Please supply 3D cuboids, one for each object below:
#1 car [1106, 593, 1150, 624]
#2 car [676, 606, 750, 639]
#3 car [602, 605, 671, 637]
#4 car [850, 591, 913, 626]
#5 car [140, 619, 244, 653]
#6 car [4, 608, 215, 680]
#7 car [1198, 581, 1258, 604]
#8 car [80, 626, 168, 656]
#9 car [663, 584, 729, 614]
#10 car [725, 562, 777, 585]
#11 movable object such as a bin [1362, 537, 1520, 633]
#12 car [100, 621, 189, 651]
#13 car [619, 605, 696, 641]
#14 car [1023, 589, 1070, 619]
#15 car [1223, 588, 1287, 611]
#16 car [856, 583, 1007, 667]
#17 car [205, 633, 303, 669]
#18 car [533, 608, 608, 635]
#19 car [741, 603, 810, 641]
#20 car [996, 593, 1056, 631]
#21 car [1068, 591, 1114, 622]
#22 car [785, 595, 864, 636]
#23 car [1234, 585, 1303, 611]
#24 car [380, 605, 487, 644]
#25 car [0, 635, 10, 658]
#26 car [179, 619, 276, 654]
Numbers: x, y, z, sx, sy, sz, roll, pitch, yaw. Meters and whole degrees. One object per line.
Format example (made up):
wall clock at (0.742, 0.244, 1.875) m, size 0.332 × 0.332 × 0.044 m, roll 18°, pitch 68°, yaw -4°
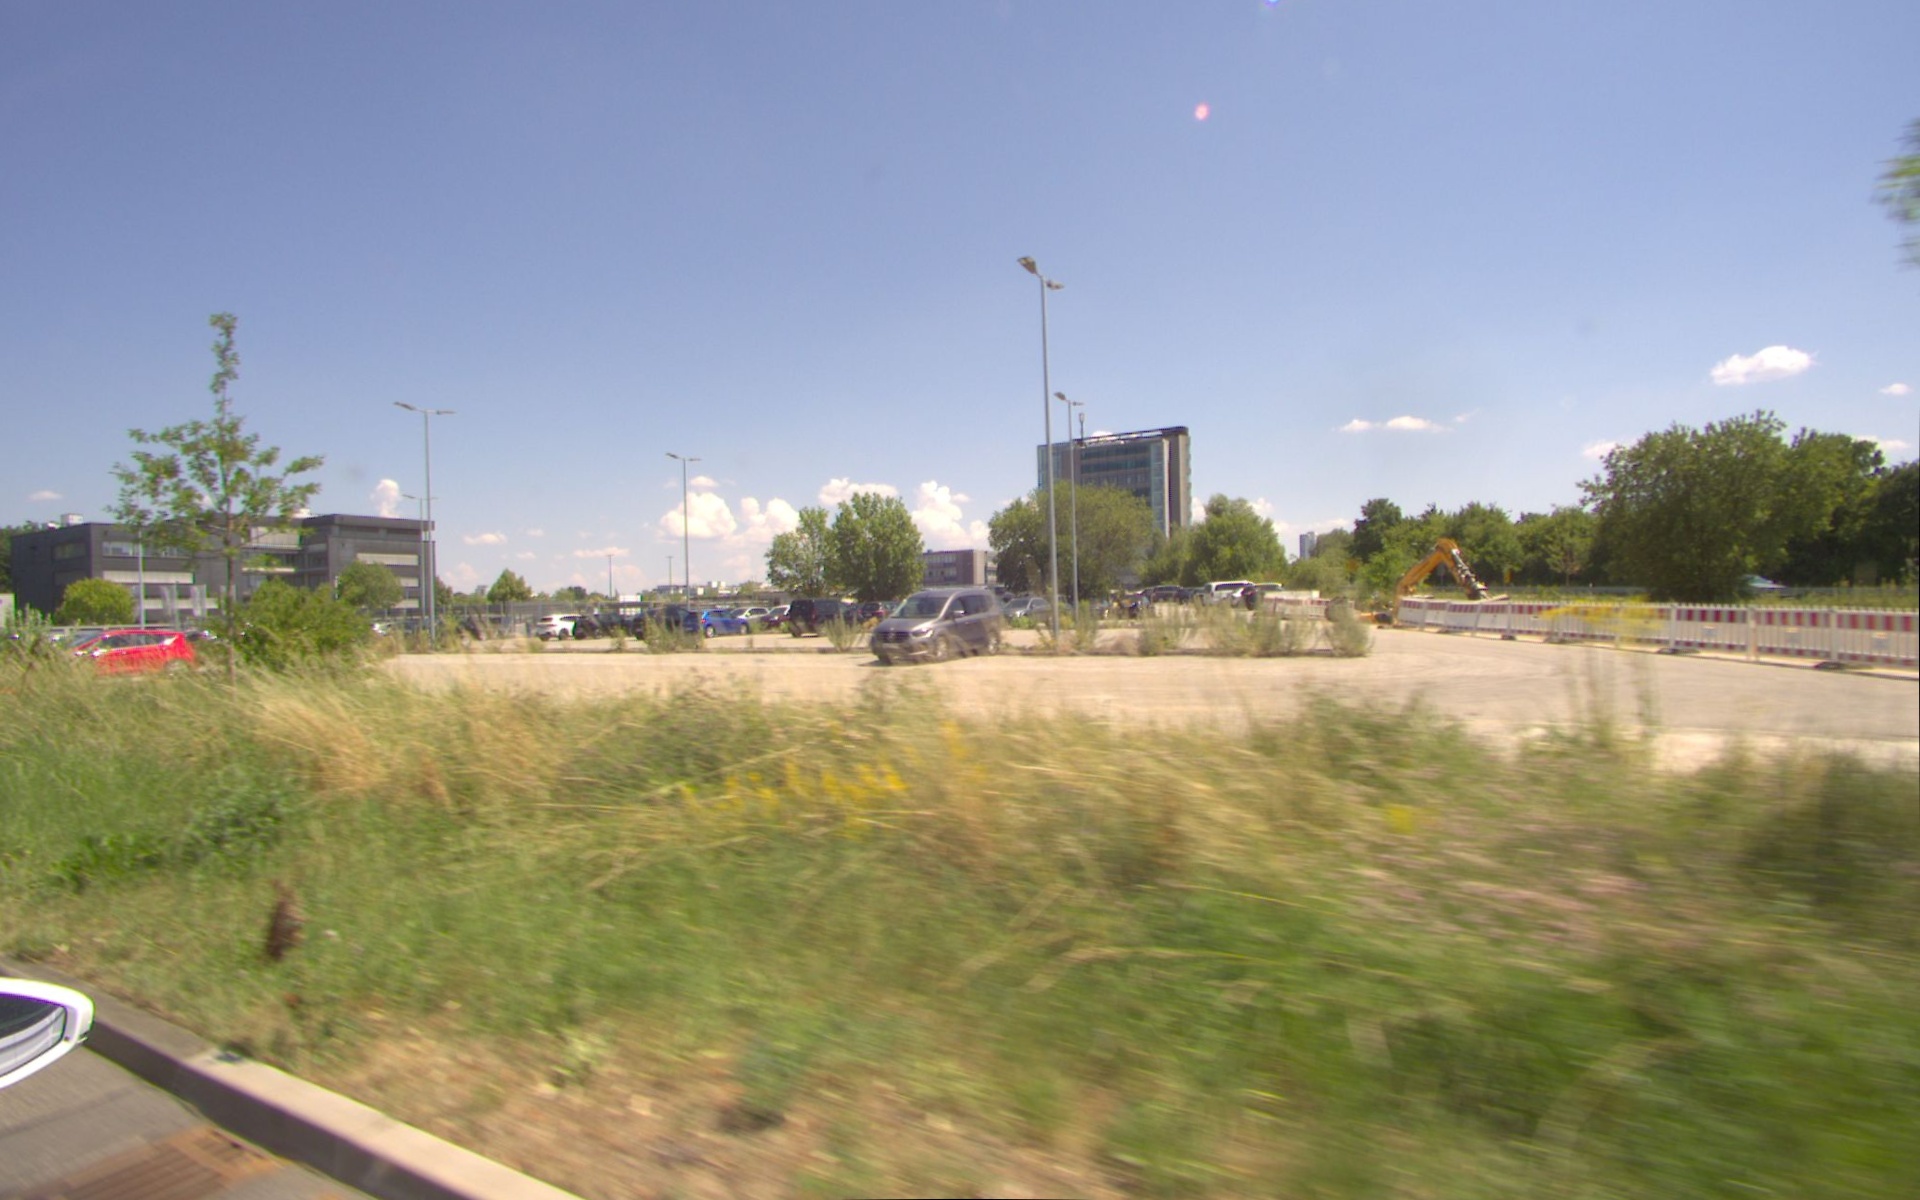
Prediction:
car at (9.973, 0.457, 59.284) m, size 1.964 × 1.662 × 3.990 m, roll 1°, pitch 2°, yaw 19°
car at (-12.760, 1.119, 51.964) m, size 1.706 × 1.484 × 3.793 m, roll 2°, pitch 2°, yaw 26°
car at (-19.342, 1.213, 60.107) m, size 1.964 × 1.662 × 3.990 m, roll 1°, pitch 2°, yaw 19°
car at (-4.145, 0.433, 53.802) m, size 1.964 × 1.662 × 3.990 m, roll 1°, pitch 2°, yaw 19°
car at (-43.536, 2.016, 56.896) m, size 1.740 × 1.618 × 4.361 m, roll 2°, pitch 2°, yaw 27°
car at (-23.296, 1.170, 27.581) m, size 1.899 × 1.746 × 3.980 m, roll -2°, pitch 0°, yaw 31°
car at (19.833, -0.575, 74.177) m, size 3.922 × 1.549 × 1.875 m, roll -2°, pitch 0°, yaw -2°
car at (-53.815, 2.580, 64.522) m, size 1.740 × 1.618 × 3.983 m, roll 2°, pitch 2°, yaw 27°
car at (-15.820, -0.110, 60.109) m, size 1.964 × 1.662 × 3.990 m, roll 1°, pitch 2°, yaw 19°
car at (-16.176, -2.059, 77.547) m, size 1.767 × 1.662 × 3.980 m, roll 2°, pitch 2°, yaw 30°
movable object such as a bin at (22.158, -0.764, 46.795) m, size 2.930 × 4.101 × 8.098 m, roll 0°, pitch 2°, yaw -4°
car at (-51.694, 2.267, 63.555) m, size 1.832 × 1.618 × 3.983 m, roll 2°, pitch 2°, yaw 27°
car at (-15.982, 1.159, 53.063) m, size 1.964 × 1.662 × 3.990 m, roll 1°, pitch 2°, yaw 19°
car at (5.314, 0.240, 61.218) m, size 1.964 × 1.662 × 3.990 m, roll 1°, pitch 2°, yaw 19°
car at (20.999, -0.032, 71.340) m, size 3.922 × 1.549 × 1.875 m, roll -2°, pitch 0°, yaw -2°
car at (-0.621, 0.555, 25.910) m, size 1.910 × 1.941 × 4.455 m, roll 0°, pitch 2°, yaw 29°
car at (-38.222, 2.727, 54.299) m, size 1.740 × 1.618 × 3.983 m, roll 2°, pitch 2°, yaw 27°
car at (-22.664, 1.243, 58.435) m, size 1.669 × 1.359 × 3.985 m, roll -2°, pitch 0°, yaw 26°
car at (-10.621, 1.230, 57.843) m, size 1.968 × 1.908 × 3.984 m, roll 2°, pitch 2°, yaw 26°
car at (3.243, 0.541, 48.603) m, size 1.964 × 1.662 × 3.990 m, roll 1°, pitch 2°, yaw 19°
car at (7.836, 0.357, 59.456) m, size 1.964 × 1.662 × 3.990 m, roll 1°, pitch 2°, yaw 19°
car at (-6.459, 0.706, 48.099) m, size 1.731 × 1.781 × 3.982 m, roll 0°, pitch 1°, yaw 28°
car at (20.303, -0.132, 65.971) m, size 3.922 × 1.549 × 1.875 m, roll -2°, pitch 0°, yaw -2°
car at (-24.635, 1.128, 46.980) m, size 1.899 × 1.663 × 3.980 m, roll -2°, pitch 0°, yaw 31°
car at (-64.816, 3.126, 65.138) m, size 1.741 × 1.420 × 3.981 m, roll 2°, pitch 2°, yaw 28°
car at (-40.484, 1.989, 55.454) m, size 1.740 × 1.618 × 3.983 m, roll 2°, pitch 2°, yaw 27°
